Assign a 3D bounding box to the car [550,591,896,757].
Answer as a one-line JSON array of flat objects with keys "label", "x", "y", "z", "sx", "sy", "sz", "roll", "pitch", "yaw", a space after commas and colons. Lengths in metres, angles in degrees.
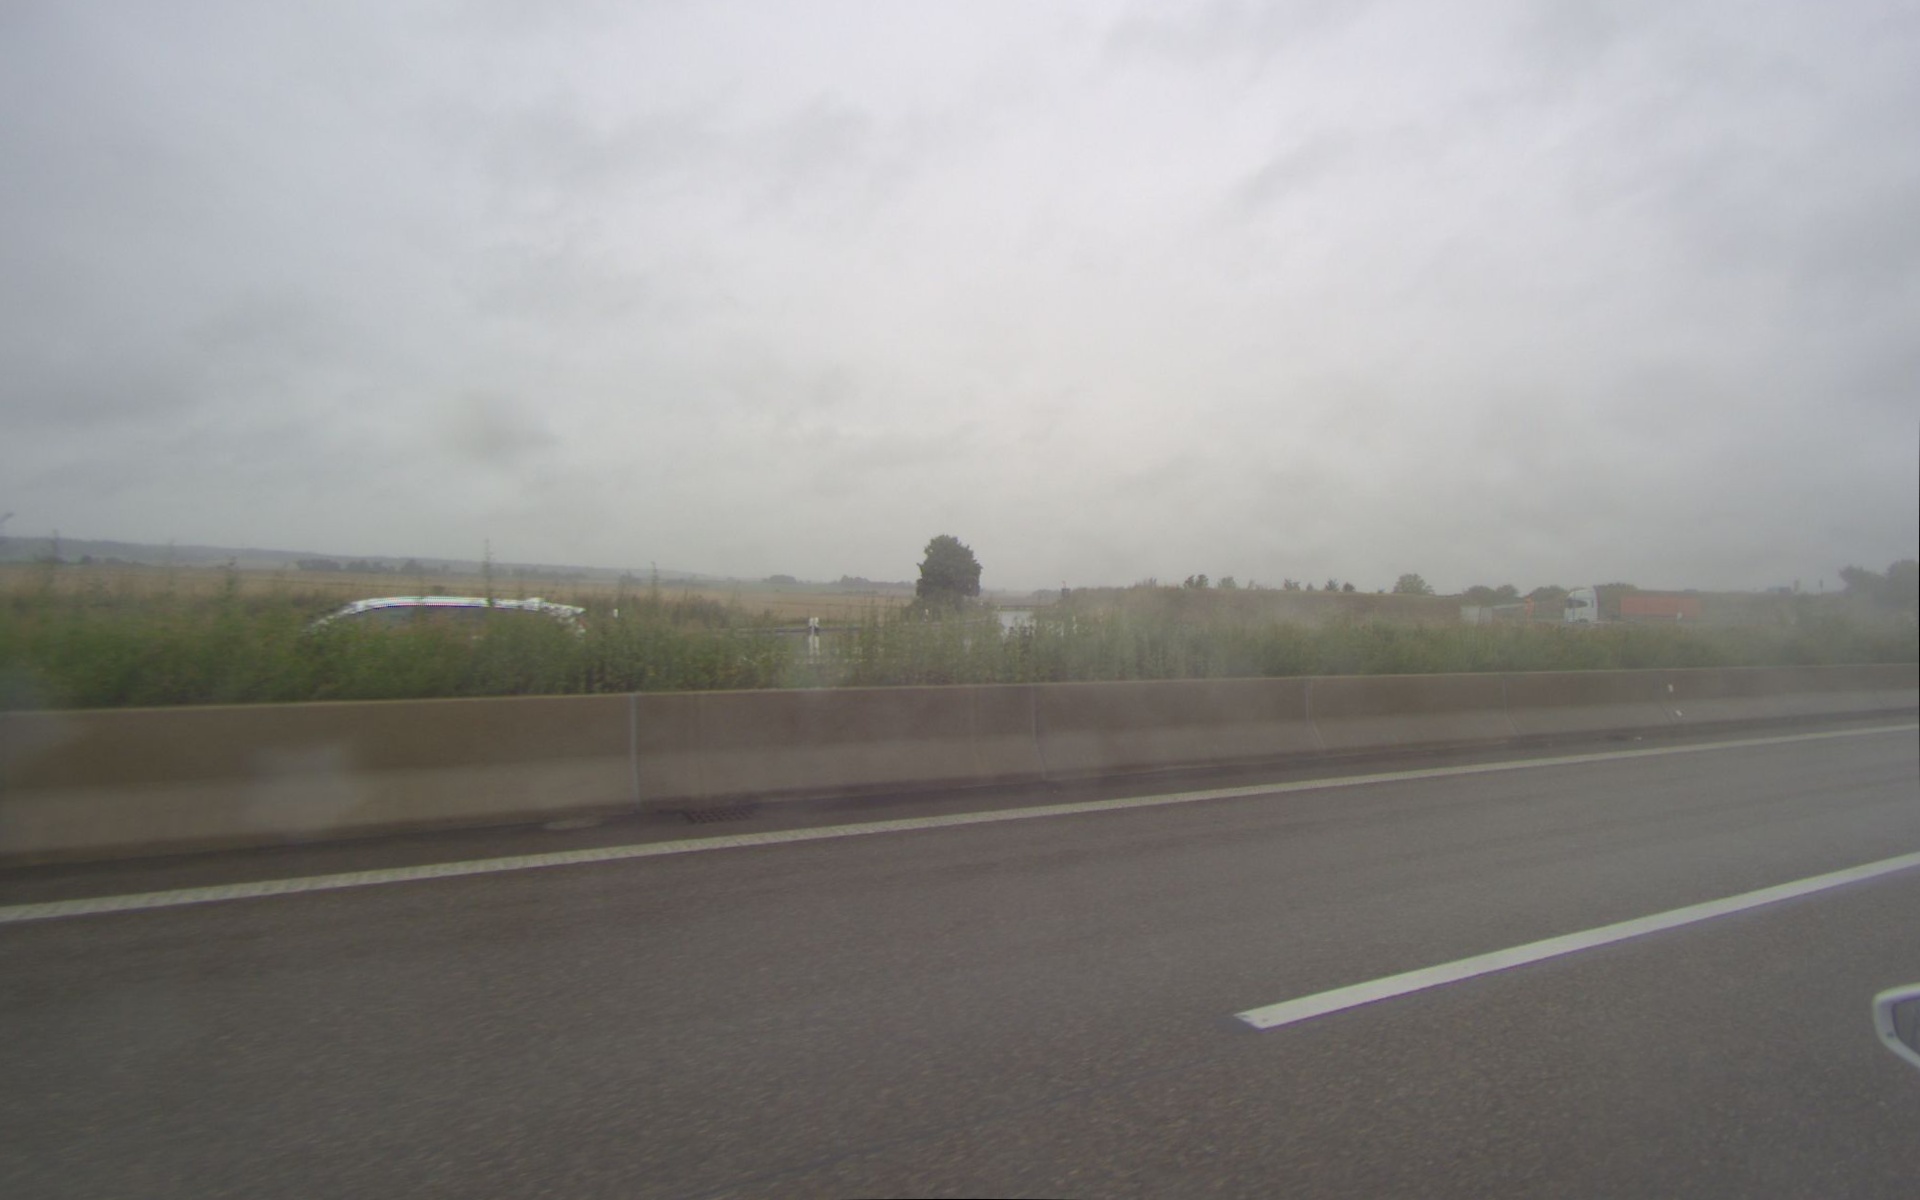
[{"label": "car", "x": -3.039, "y": 0.868, "z": 13.003, "sx": 3.953, "sy": 1.840, "sz": 1.984, "roll": 1, "pitch": -1, "yaw": -30}]
